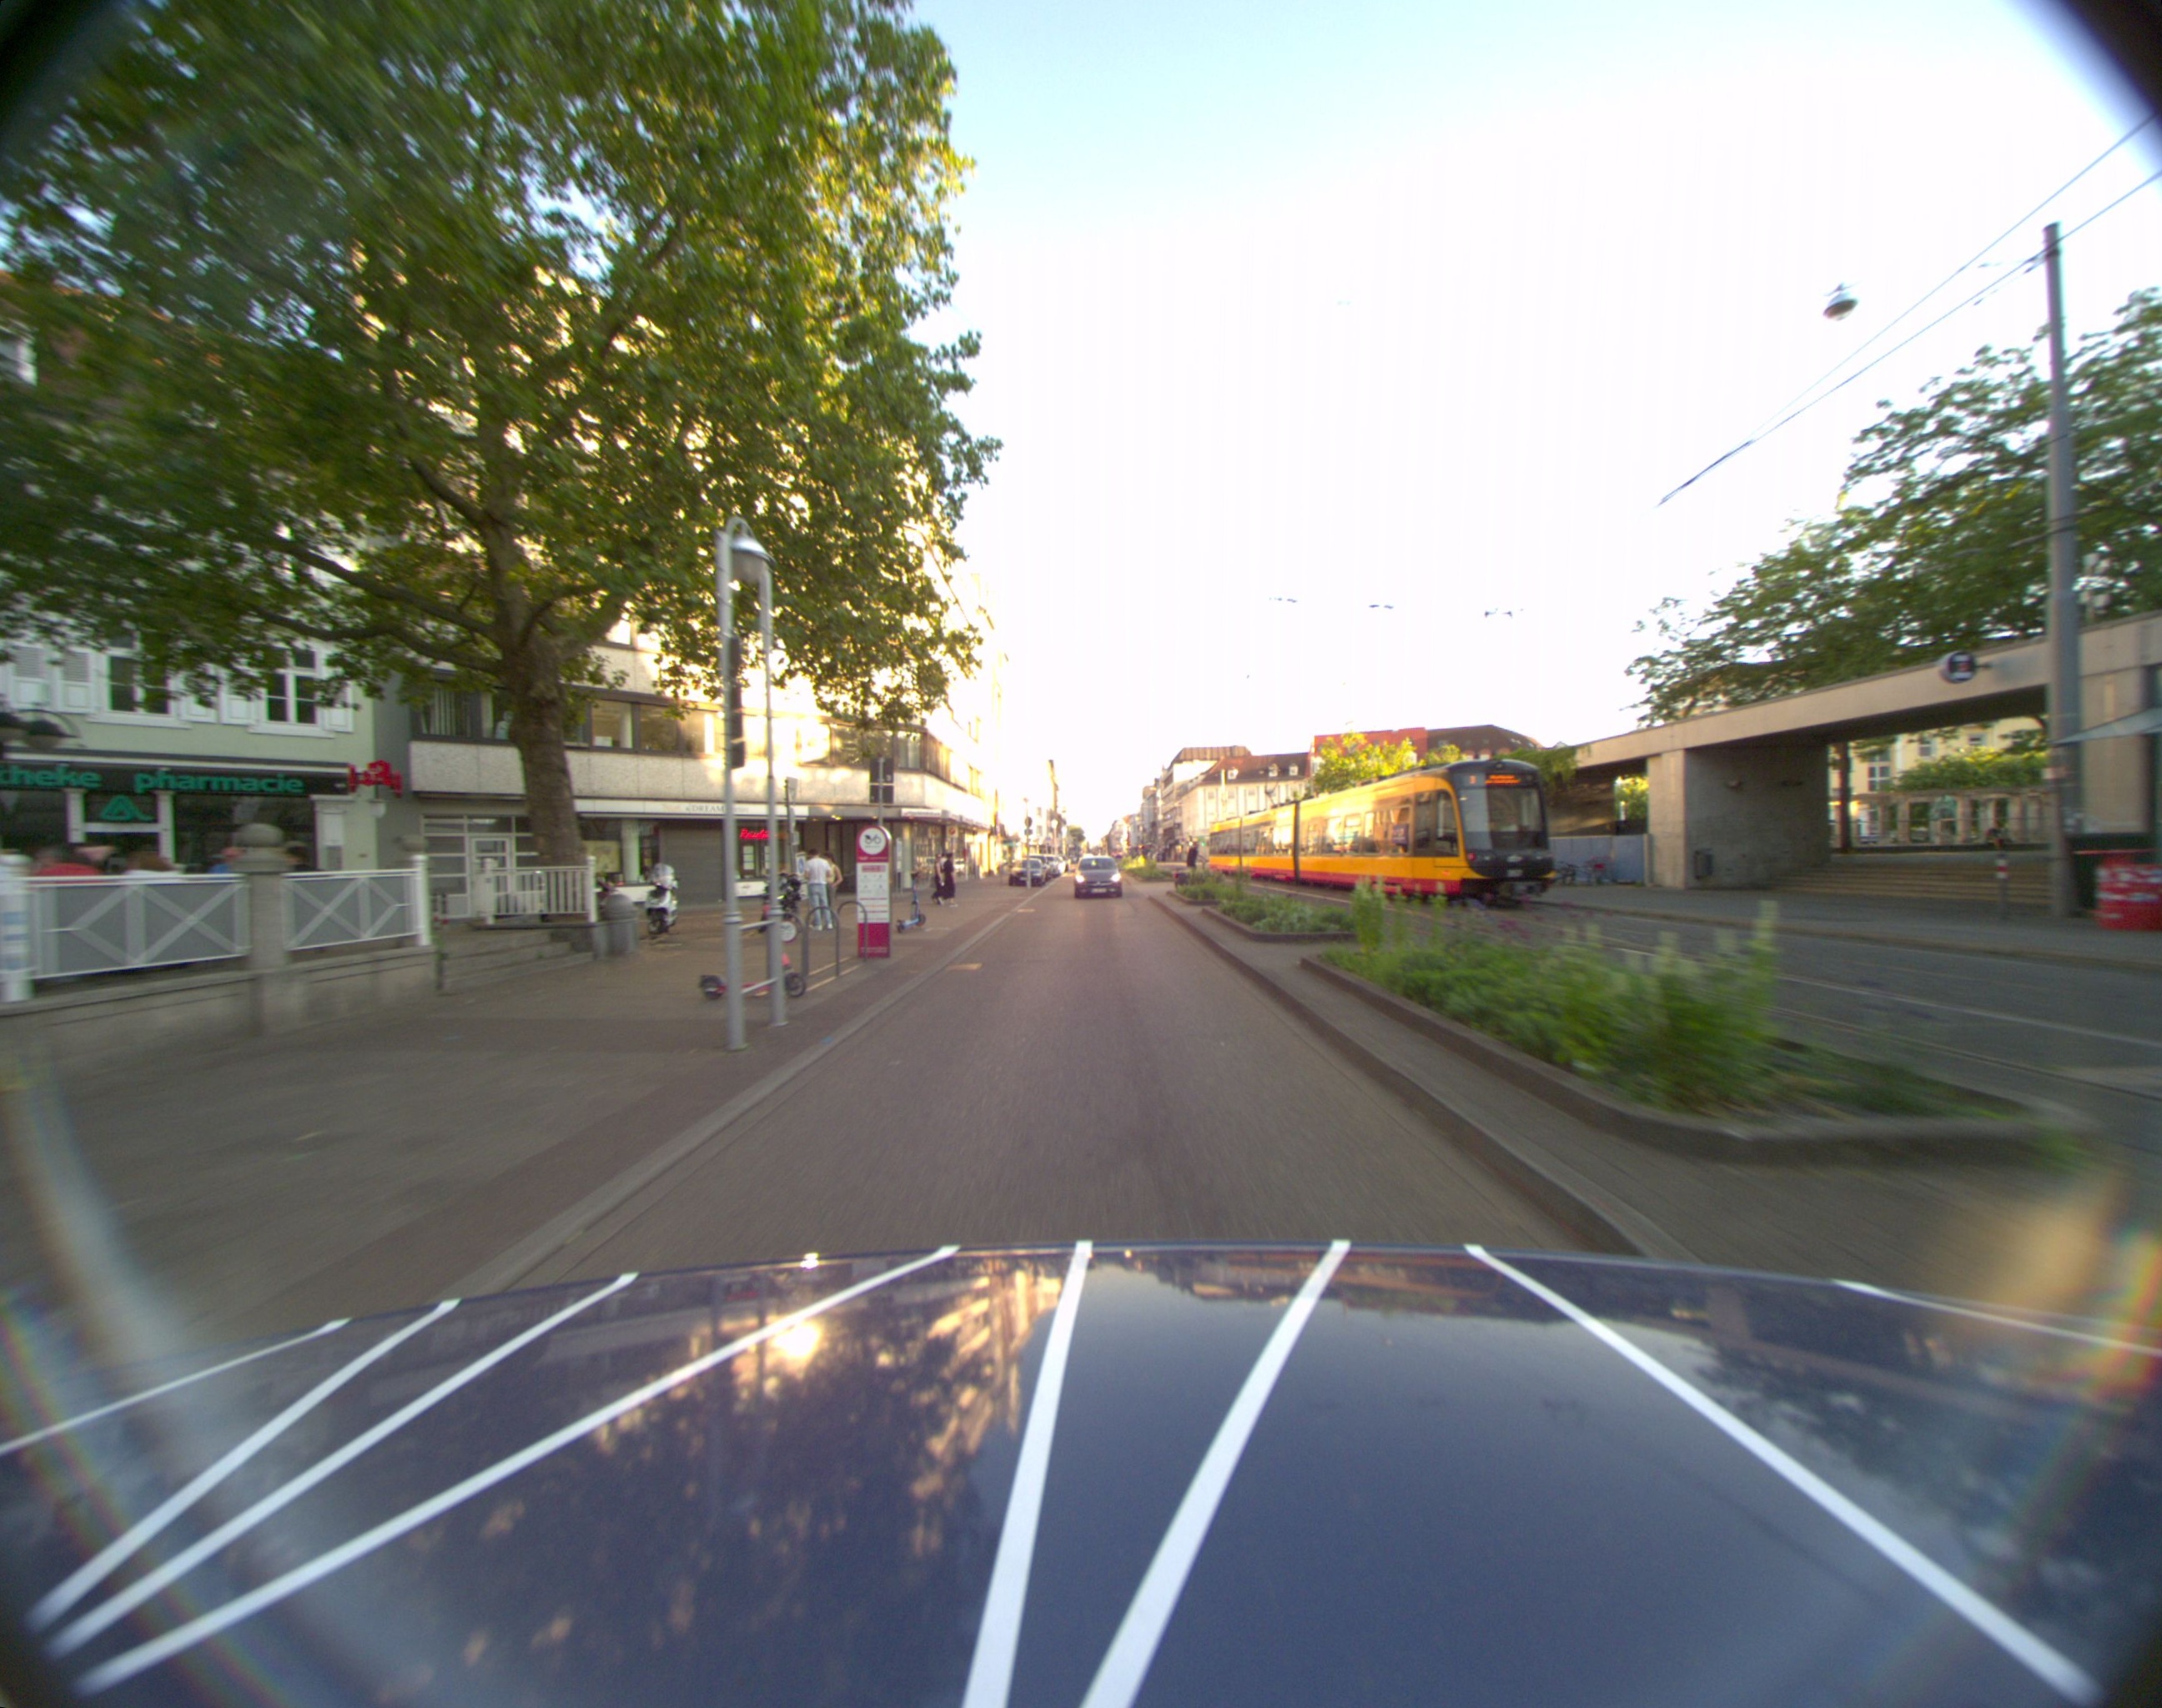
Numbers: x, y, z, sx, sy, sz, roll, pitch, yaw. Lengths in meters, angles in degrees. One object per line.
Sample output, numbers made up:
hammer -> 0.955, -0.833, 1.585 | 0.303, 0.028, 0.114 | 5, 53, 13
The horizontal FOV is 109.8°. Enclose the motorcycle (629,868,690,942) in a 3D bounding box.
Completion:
motorcycle -> -8.546, 1.007, 15.492 | 0.707, 1.397, 1.966 | -1, -2, -18

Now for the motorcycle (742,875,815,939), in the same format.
motorcycle -> -6.288, 1.068, 15.916 | 0.705, 1.179, 1.968 | 0, 0, 1

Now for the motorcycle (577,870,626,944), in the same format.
motorcycle -> -9.732, 1.050, 15.469 | 0.707, 1.397, 1.964 | 0, -2, -29

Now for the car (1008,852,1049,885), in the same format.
car -> -2.679, 0.728, 39.675 | 1.771, 1.565, 3.999 | 0, 1, 1

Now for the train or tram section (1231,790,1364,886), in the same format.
train or tram section -> 9.691, -0.643, 35.911 | 2.902, 3.664, 11.983 | -2, 0, 1

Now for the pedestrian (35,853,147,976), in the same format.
pedestrian -> -10.844, 0.646, 8.334 | 0.532, 1.289, 0.491 | -2, 1, 1

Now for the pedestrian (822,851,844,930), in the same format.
pedestrian -> -5.502, 0.793, 16.857 | 0.432, 1.726, 0.409 | 0, 1, -18

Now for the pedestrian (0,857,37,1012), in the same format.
pedestrian -> -9.275, 0.679, 6.289 | 0.532, 1.289, 0.491 | -2, 1, 1

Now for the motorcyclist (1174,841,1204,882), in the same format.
motorcyclist -> 3.975, 0.275, 27.970 | 0.800, 1.431, 0.799 | -3, 1, -16

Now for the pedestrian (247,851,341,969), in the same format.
pedestrian -> -9.207, 0.637, 8.902 | 0.532, 1.325, 0.491 | -2, 1, 1

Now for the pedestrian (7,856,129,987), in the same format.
pedestrian -> -10.412, 0.673, 7.824 | 0.532, 1.289, 0.491 | -2, 1, 1

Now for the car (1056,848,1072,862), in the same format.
car -> -2.054, 0.074, 90.997 | 1.771, 1.565, 3.999 | 0, 1, 1

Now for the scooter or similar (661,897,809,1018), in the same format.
scooter or similar -> -3.702, 1.099, 8.200 | 1.345, 1.225, 0.535 | 0, 1, -2

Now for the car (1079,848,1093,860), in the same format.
car -> 0.652, -0.007, 102.400 | 1.810, 1.475, 4.283 | -4, 0, 0

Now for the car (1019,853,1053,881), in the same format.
car -> -2.692, 0.735, 46.440 | 1.771, 1.565, 3.999 | 0, 1, 1

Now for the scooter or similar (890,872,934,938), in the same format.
scooter or similar -> -3.518, 1.031, 15.887 | 0.534, 1.225, 1.656 | 0, 1, 1

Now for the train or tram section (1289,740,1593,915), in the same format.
train or tram section -> 9.586, -0.579, 23.065 | 2.902, 3.664, 13.480 | -2, 0, 1

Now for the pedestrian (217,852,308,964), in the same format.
pedestrian -> -10.076, 0.651, 9.369 | 0.490, 1.325, 0.532 | -2, 1, 1

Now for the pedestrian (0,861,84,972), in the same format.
pedestrian -> -12.560, 0.735, 9.100 | 0.532, 1.289, 0.491 | -2, 1, 1

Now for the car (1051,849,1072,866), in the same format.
car -> -1.822, 0.323, 72.135 | 1.771, 1.565, 3.999 | 0, 1, 1

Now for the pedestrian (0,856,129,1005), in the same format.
pedestrian -> -9.233, 0.668, 6.886 | 0.532, 1.289, 0.491 | -2, 1, 1

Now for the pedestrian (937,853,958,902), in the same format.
pedestrian -> -4.575, 0.794, 26.074 | 0.638, 1.616, 0.519 | -2, 2, -10

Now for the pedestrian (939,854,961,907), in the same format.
pedestrian -> -4.109, 0.825, 23.849 | 0.638, 1.616, 0.519 | -2, 2, -10

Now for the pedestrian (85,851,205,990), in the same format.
pedestrian -> -9.311, 0.645, 7.577 | 0.532, 1.325, 0.491 | -2, 1, 1

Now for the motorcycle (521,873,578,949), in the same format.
motorcycle -> -10.438, 1.091, 14.979 | 0.707, 1.397, 1.964 | 0, -2, -29

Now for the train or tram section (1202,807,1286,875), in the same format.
train or tram section -> 9.872, -0.742, 47.330 | 2.902, 3.664, 10.784 | -2, 0, 1

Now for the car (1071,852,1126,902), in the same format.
car -> 0.626, 0.752, 27.075 | 1.738, 1.495, 3.999 | -3, 1, 1

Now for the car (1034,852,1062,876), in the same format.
car -> -2.288, 0.680, 53.549 | 1.771, 1.565, 3.999 | 0, 1, 1

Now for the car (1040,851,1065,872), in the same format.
car -> -2.204, 0.575, 59.668 | 1.771, 1.565, 3.999 | 0, 1, 1

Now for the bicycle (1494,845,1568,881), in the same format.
bicycle -> 15.711, 0.307, 26.543 | 2.131, 1.153, 0.692 | -2, 1, 2

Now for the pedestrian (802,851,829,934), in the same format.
pedestrian -> -5.597, 0.795, 16.005 | 0.431, 1.726, 0.409 | 0, 1, -3

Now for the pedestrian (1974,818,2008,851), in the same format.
pedestrian -> 35.906, -0.765, 29.979 | 0.586, 1.250, 0.626 | 0, 1, -2

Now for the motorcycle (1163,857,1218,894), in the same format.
motorcycle -> 4.038, 0.769, 27.997 | 1.780, 1.230, 0.805 | -3, 1, -16

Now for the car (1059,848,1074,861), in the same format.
car -> -1.862, -0.004, 96.648 | 1.771, 1.565, 3.999 | 0, 1, 1

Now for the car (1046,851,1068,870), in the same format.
car -> -2.076, 0.590, 67.180 | 1.771, 1.565, 3.999 | 0, 1, 1

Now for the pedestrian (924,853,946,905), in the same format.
pedestrian -> -4.739, 0.806, 24.674 | 0.638, 1.616, 0.519 | -2, 2, -10

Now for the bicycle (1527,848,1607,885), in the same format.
bicycle -> 15.915, 0.410, 24.918 | 2.131, 1.153, 0.692 | -2, 1, 2
